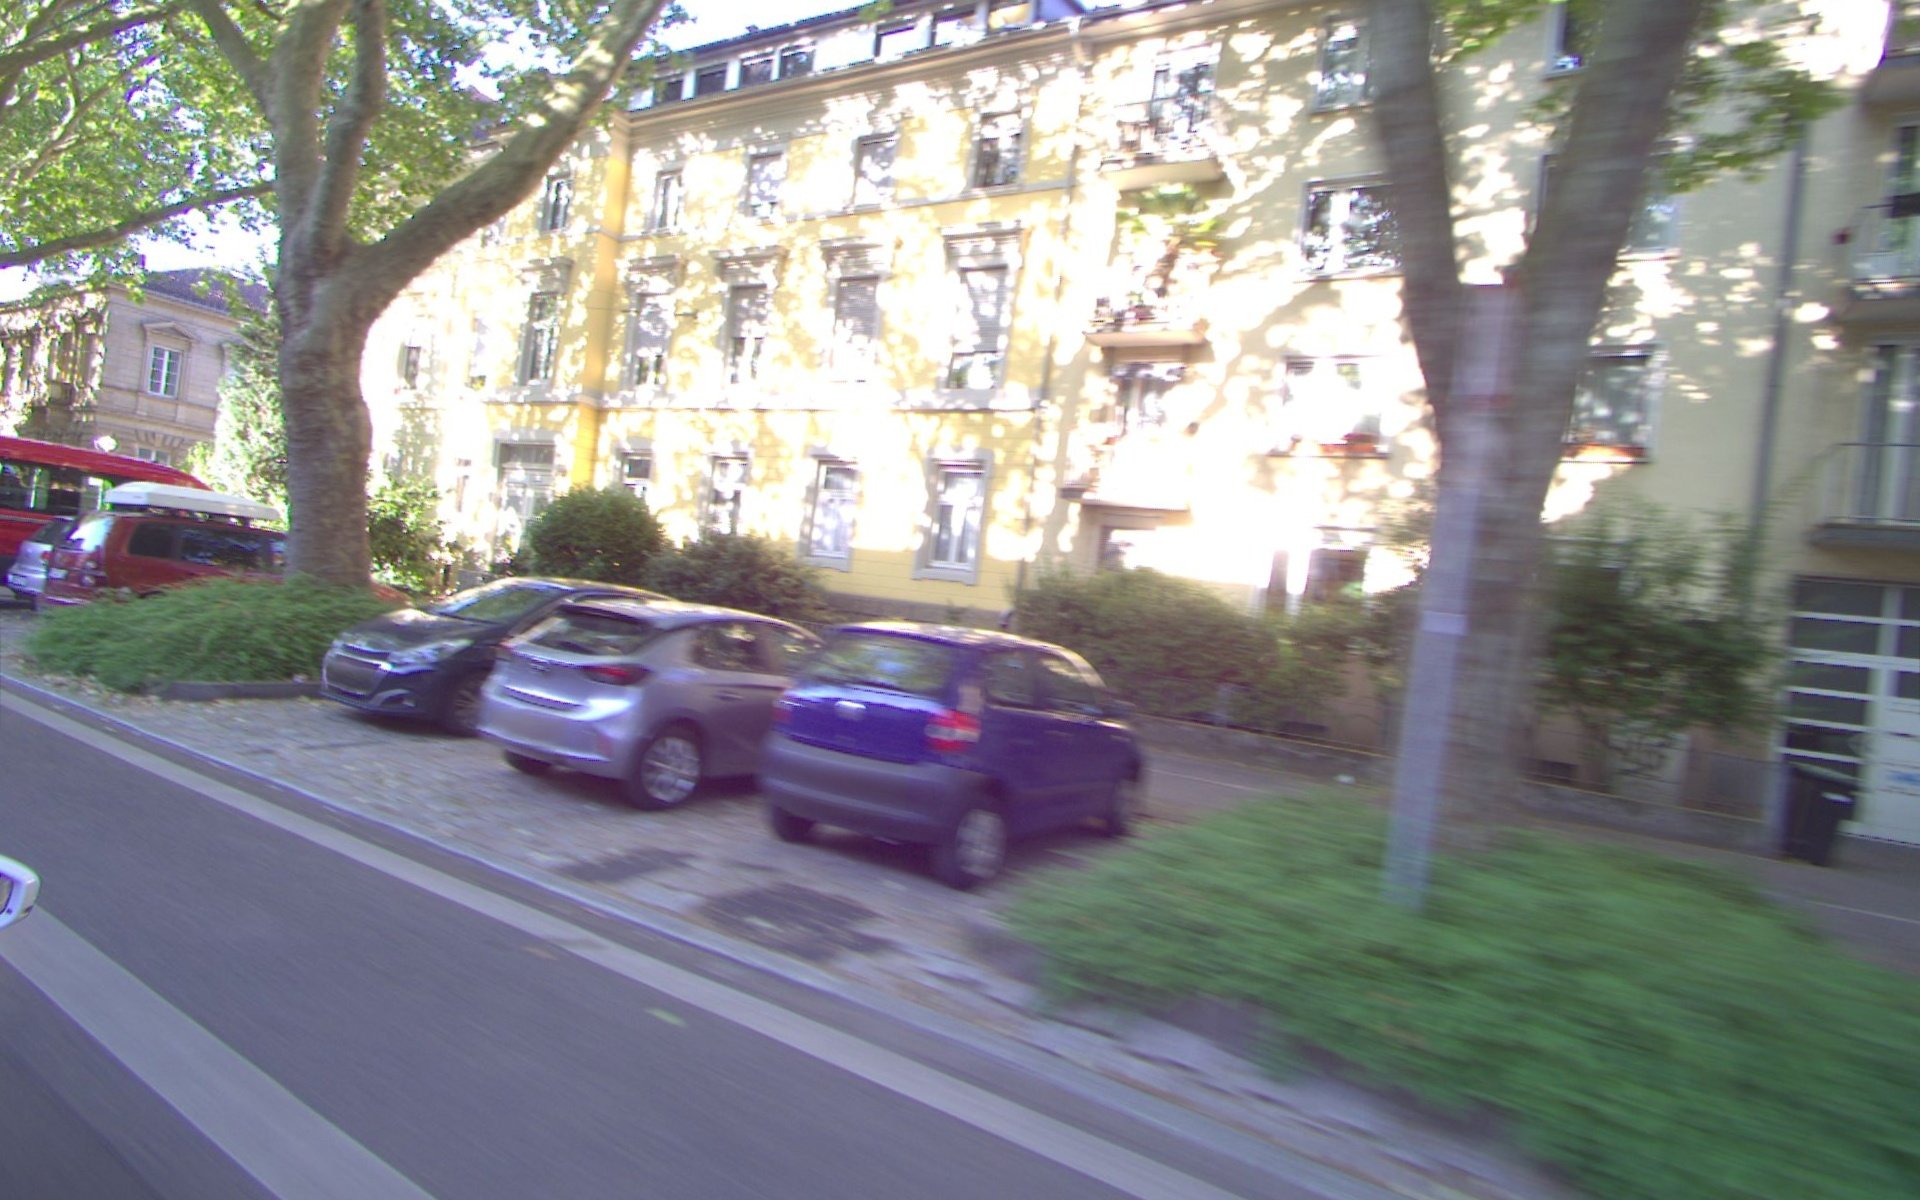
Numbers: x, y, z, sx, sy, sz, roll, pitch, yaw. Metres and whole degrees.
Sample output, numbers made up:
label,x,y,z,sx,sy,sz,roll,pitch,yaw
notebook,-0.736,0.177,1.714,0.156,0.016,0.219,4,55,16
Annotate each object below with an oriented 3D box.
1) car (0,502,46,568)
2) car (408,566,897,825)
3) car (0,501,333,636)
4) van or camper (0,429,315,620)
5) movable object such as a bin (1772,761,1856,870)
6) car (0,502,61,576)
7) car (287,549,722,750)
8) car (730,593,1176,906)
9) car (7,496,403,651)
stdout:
label,x,y,z,sx,sy,sz,roll,pitch,yaw
car,-22.756,-1.631,21.958,1.651,1.404,3.759,7,0,26
car,-2.302,0.709,8.399,1.665,1.536,3.599,7,0,31
car,-11.934,-0.397,15.201,1.640,1.548,3.741,7,0,29
van or camper,-13.924,-1.192,15.843,2.248,2.551,5.823,8,1,29
movable object such as a bin,8.850,2.214,10.450,0.458,0.955,0.748,7,1,31
car,-21.331,-1.460,20.386,1.731,1.434,4.289,7,0,33
car,-4.420,0.480,10.300,1.665,1.543,3.673,7,1,31
car,0.200,0.980,7.487,1.515,1.618,3.601,6,-2,31
car,-9.929,-0.258,13.560,1.737,1.669,3.824,5,-1,29
